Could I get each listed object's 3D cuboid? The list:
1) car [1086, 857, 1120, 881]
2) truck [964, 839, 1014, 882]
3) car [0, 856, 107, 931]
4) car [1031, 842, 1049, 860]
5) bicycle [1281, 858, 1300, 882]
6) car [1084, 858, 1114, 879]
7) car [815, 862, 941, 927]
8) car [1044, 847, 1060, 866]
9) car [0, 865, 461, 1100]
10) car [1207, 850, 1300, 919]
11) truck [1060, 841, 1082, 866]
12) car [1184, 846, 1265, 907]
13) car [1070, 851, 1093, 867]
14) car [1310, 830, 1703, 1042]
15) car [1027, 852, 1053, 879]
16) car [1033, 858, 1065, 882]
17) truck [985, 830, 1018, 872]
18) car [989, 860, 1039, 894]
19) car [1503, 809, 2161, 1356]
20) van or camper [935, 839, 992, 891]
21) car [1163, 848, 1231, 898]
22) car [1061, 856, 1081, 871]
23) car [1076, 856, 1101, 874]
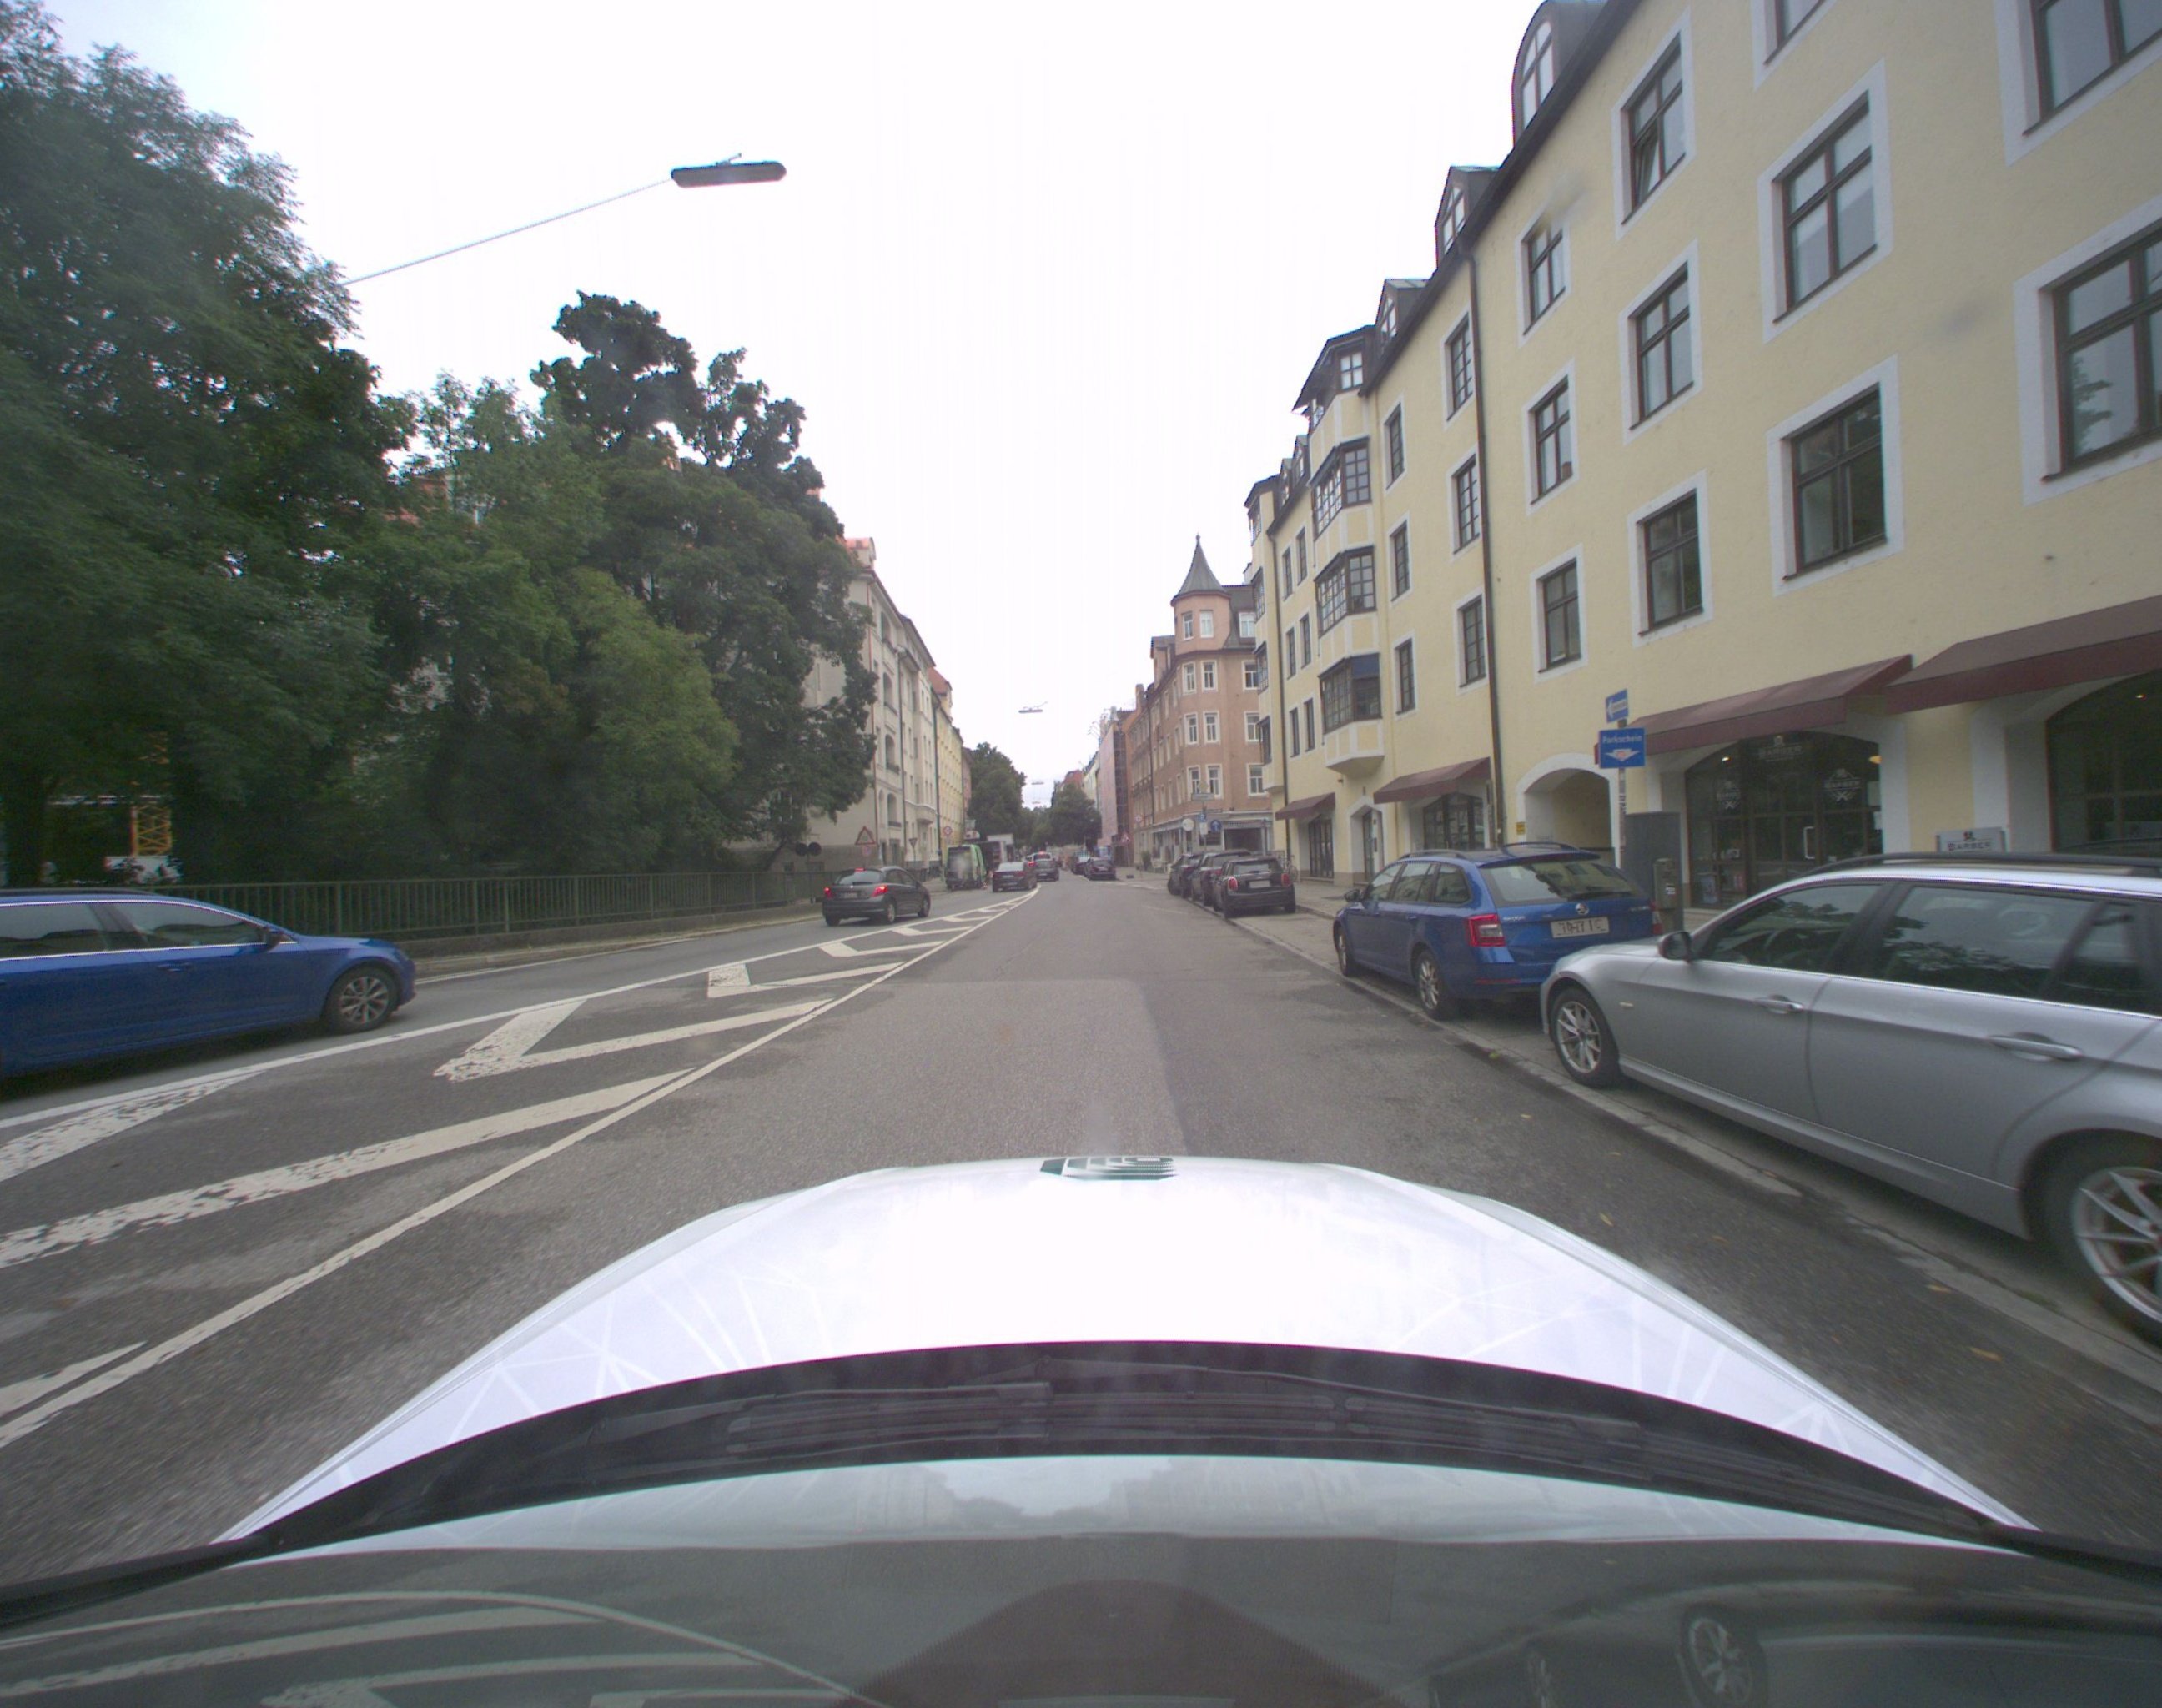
[{"bbox_3d":[1.429,0.948,54.097,1.840,1.429,4.178,1,1,-4],"label":"car"},{"bbox_3d":[-6.580,0.410,59.488,2.765,2.873,7.200,-2,1,0],"label":"truck"},{"bbox_3d":[-34.181,1.263,25.258,2.302,2.270,5.109,-3,0,-11],"label":"car"},{"bbox_3d":[-4.774,-0.349,95.532,1.989,2.013,3.995,-3,0,-3],"label":"car"},{"bbox_3d":[8.654,0.654,33.670,0.270,0.977,1.683,-1,0,-2],"label":"bicycle"},{"bbox_3d":[1.277,1.022,60.460,1.840,1.429,4.135,1,1,-4],"label":"car"},{"bbox_3d":[-5.266,1.004,21.691,1.748,1.461,4.084,-3,0,8],"label":"car"},{"bbox_3d":[-3.745,0.321,107.589,1.934,2.480,4.780,-2,0,-1],"label":"car"},{"bbox_3d":[-7.815,0.896,6.266,1.976,1.454,4.746,-3,0,8],"label":"car"},{"bbox_3d":[4.317,0.706,20.941,1.749,1.496,3.827,-4,0,4],"label":"car"},{"bbox_3d":[-1.283,-0.027,102.670,2.486,2.973,5.321,-2,0,-3],"label":"truck"},{"bbox_3d":[4.468,0.658,25.959,1.750,1.679,4.707,-4,0,1],"label":"car"},{"bbox_3d":[0.024,0.452,76.685,1.985,1.429,4.137,-2,1,-2],"label":"car"},{"bbox_3d":[3.863,0.628,8.440,1.750,1.496,4.489,-4,0,1],"label":"car"},{"bbox_3d":[-3.356,0.919,67.690,1.985,2.075,4.137,-2,1,-2],"label":"car"},{"bbox_3d":[-2.126,1.043,54.291,1.985,1.429,4.137,-2,1,-2],"label":"car"},{"bbox_3d":[-7.944,-0.301,82.501,3.007,3.951,6.985,-2,0,-4],"label":"truck"},{"bbox_3d":[-3.363,1.126,41.797,1.983,1.429,4.907,-2,1,1],"label":"car"},{"bbox_3d":[3.857,0.607,3.618,1.684,1.496,4.435,-4,0,1],"label":"car"},{"bbox_3d":[-6.978,0.595,49.011,2.594,2.840,6.181,-2,1,-2],"label":"van or camper"},{"bbox_3d":[4.394,0.692,31.447,1.813,1.679,4.508,-4,0,-1],"label":"car"},{"bbox_3d":[-1.066,0.998,86.497,1.985,1.429,4.137,-2,1,-2],"label":"car"},{"bbox_3d":[0.593,0.901,68.949,1.840,1.429,4.300,1,1,-4],"label":"car"}]
